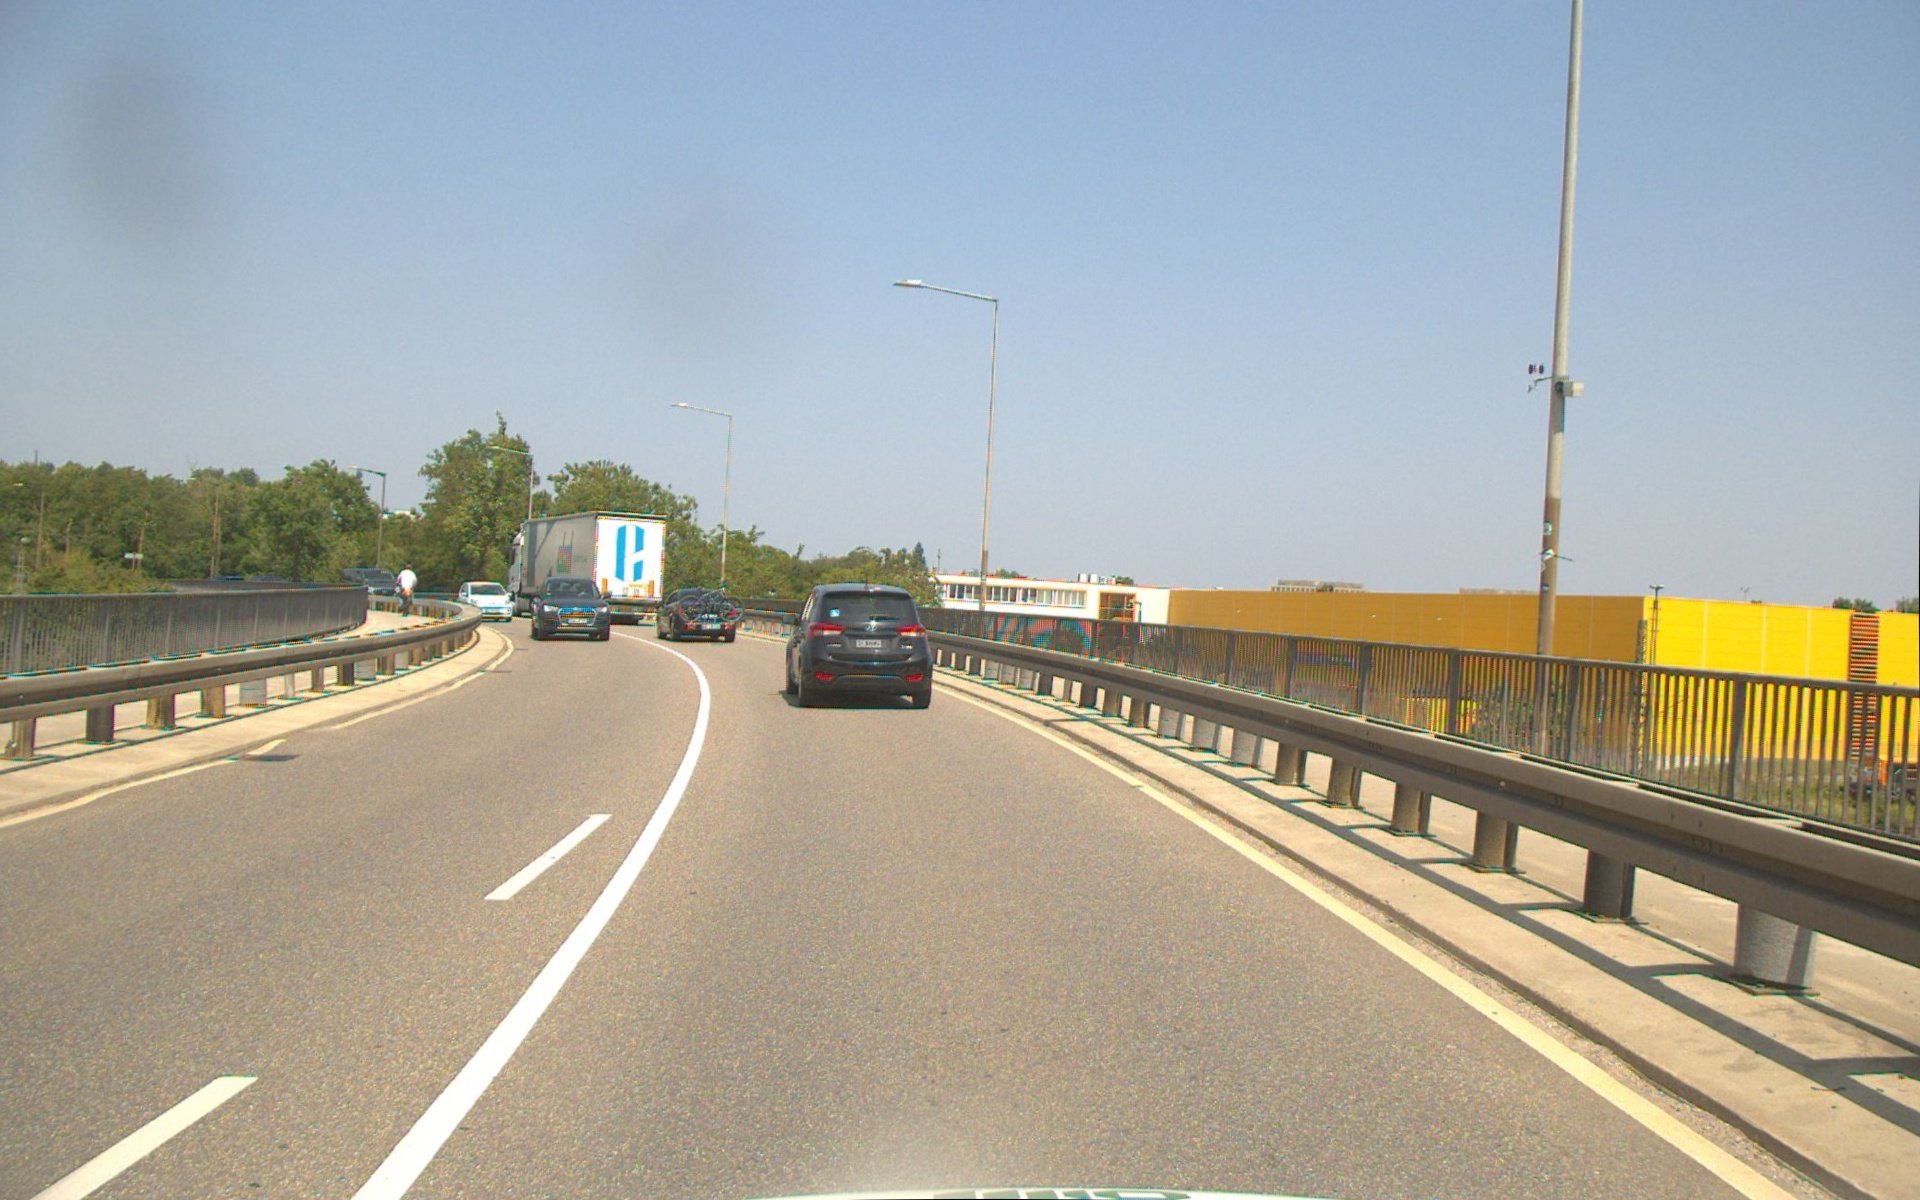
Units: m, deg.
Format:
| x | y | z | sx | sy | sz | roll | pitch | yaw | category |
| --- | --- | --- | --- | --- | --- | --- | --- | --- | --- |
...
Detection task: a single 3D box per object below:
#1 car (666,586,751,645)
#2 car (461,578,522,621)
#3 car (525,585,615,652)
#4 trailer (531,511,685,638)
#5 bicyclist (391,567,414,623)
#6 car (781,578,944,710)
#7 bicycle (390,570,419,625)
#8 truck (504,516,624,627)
| x | y | z | sx | sy | sz | roll | pitch | yaw | category |
| --- | --- | --- | --- | --- | --- | --- | --- | --- | --- |
| -6.915 | 0.400 | 45.190 | 1.977 | 1.454 | 3.764 | 2 | 1 | -13 | car |
| -17.641 | -0.030 | 62.149 | 1.643 | 1.489 | 3.459 | 1 | 1 | -25 | car |
| -10.652 | 0.464 | 44.999 | 1.815 | 1.664 | 4.206 | 0 | 1 | -21 | car |
| -13.994 | -1.015 | 64.727 | 3.523 | 4.460 | 11.355 | 1 | 1 | -24 | trailer |
| -19.340 | -0.183 | 57.354 | 0.616 | 1.919 | 0.707 | 1 | 0 | -26 | bicyclist |
| -1.426 | 0.540 | 22.779 | 1.885 | 1.601 | 3.884 | 2 | 1 | -8 | car |
| -19.328 | -0.109 | 57.487 | 0.689 | 1.833 | 2.164 | 1 | 1 | -25 | bicycle |
| -17.223 | -1.232 | 71.578 | 3.531 | 4.518 | 6.458 | 1 | 1 | -27 | truck |
